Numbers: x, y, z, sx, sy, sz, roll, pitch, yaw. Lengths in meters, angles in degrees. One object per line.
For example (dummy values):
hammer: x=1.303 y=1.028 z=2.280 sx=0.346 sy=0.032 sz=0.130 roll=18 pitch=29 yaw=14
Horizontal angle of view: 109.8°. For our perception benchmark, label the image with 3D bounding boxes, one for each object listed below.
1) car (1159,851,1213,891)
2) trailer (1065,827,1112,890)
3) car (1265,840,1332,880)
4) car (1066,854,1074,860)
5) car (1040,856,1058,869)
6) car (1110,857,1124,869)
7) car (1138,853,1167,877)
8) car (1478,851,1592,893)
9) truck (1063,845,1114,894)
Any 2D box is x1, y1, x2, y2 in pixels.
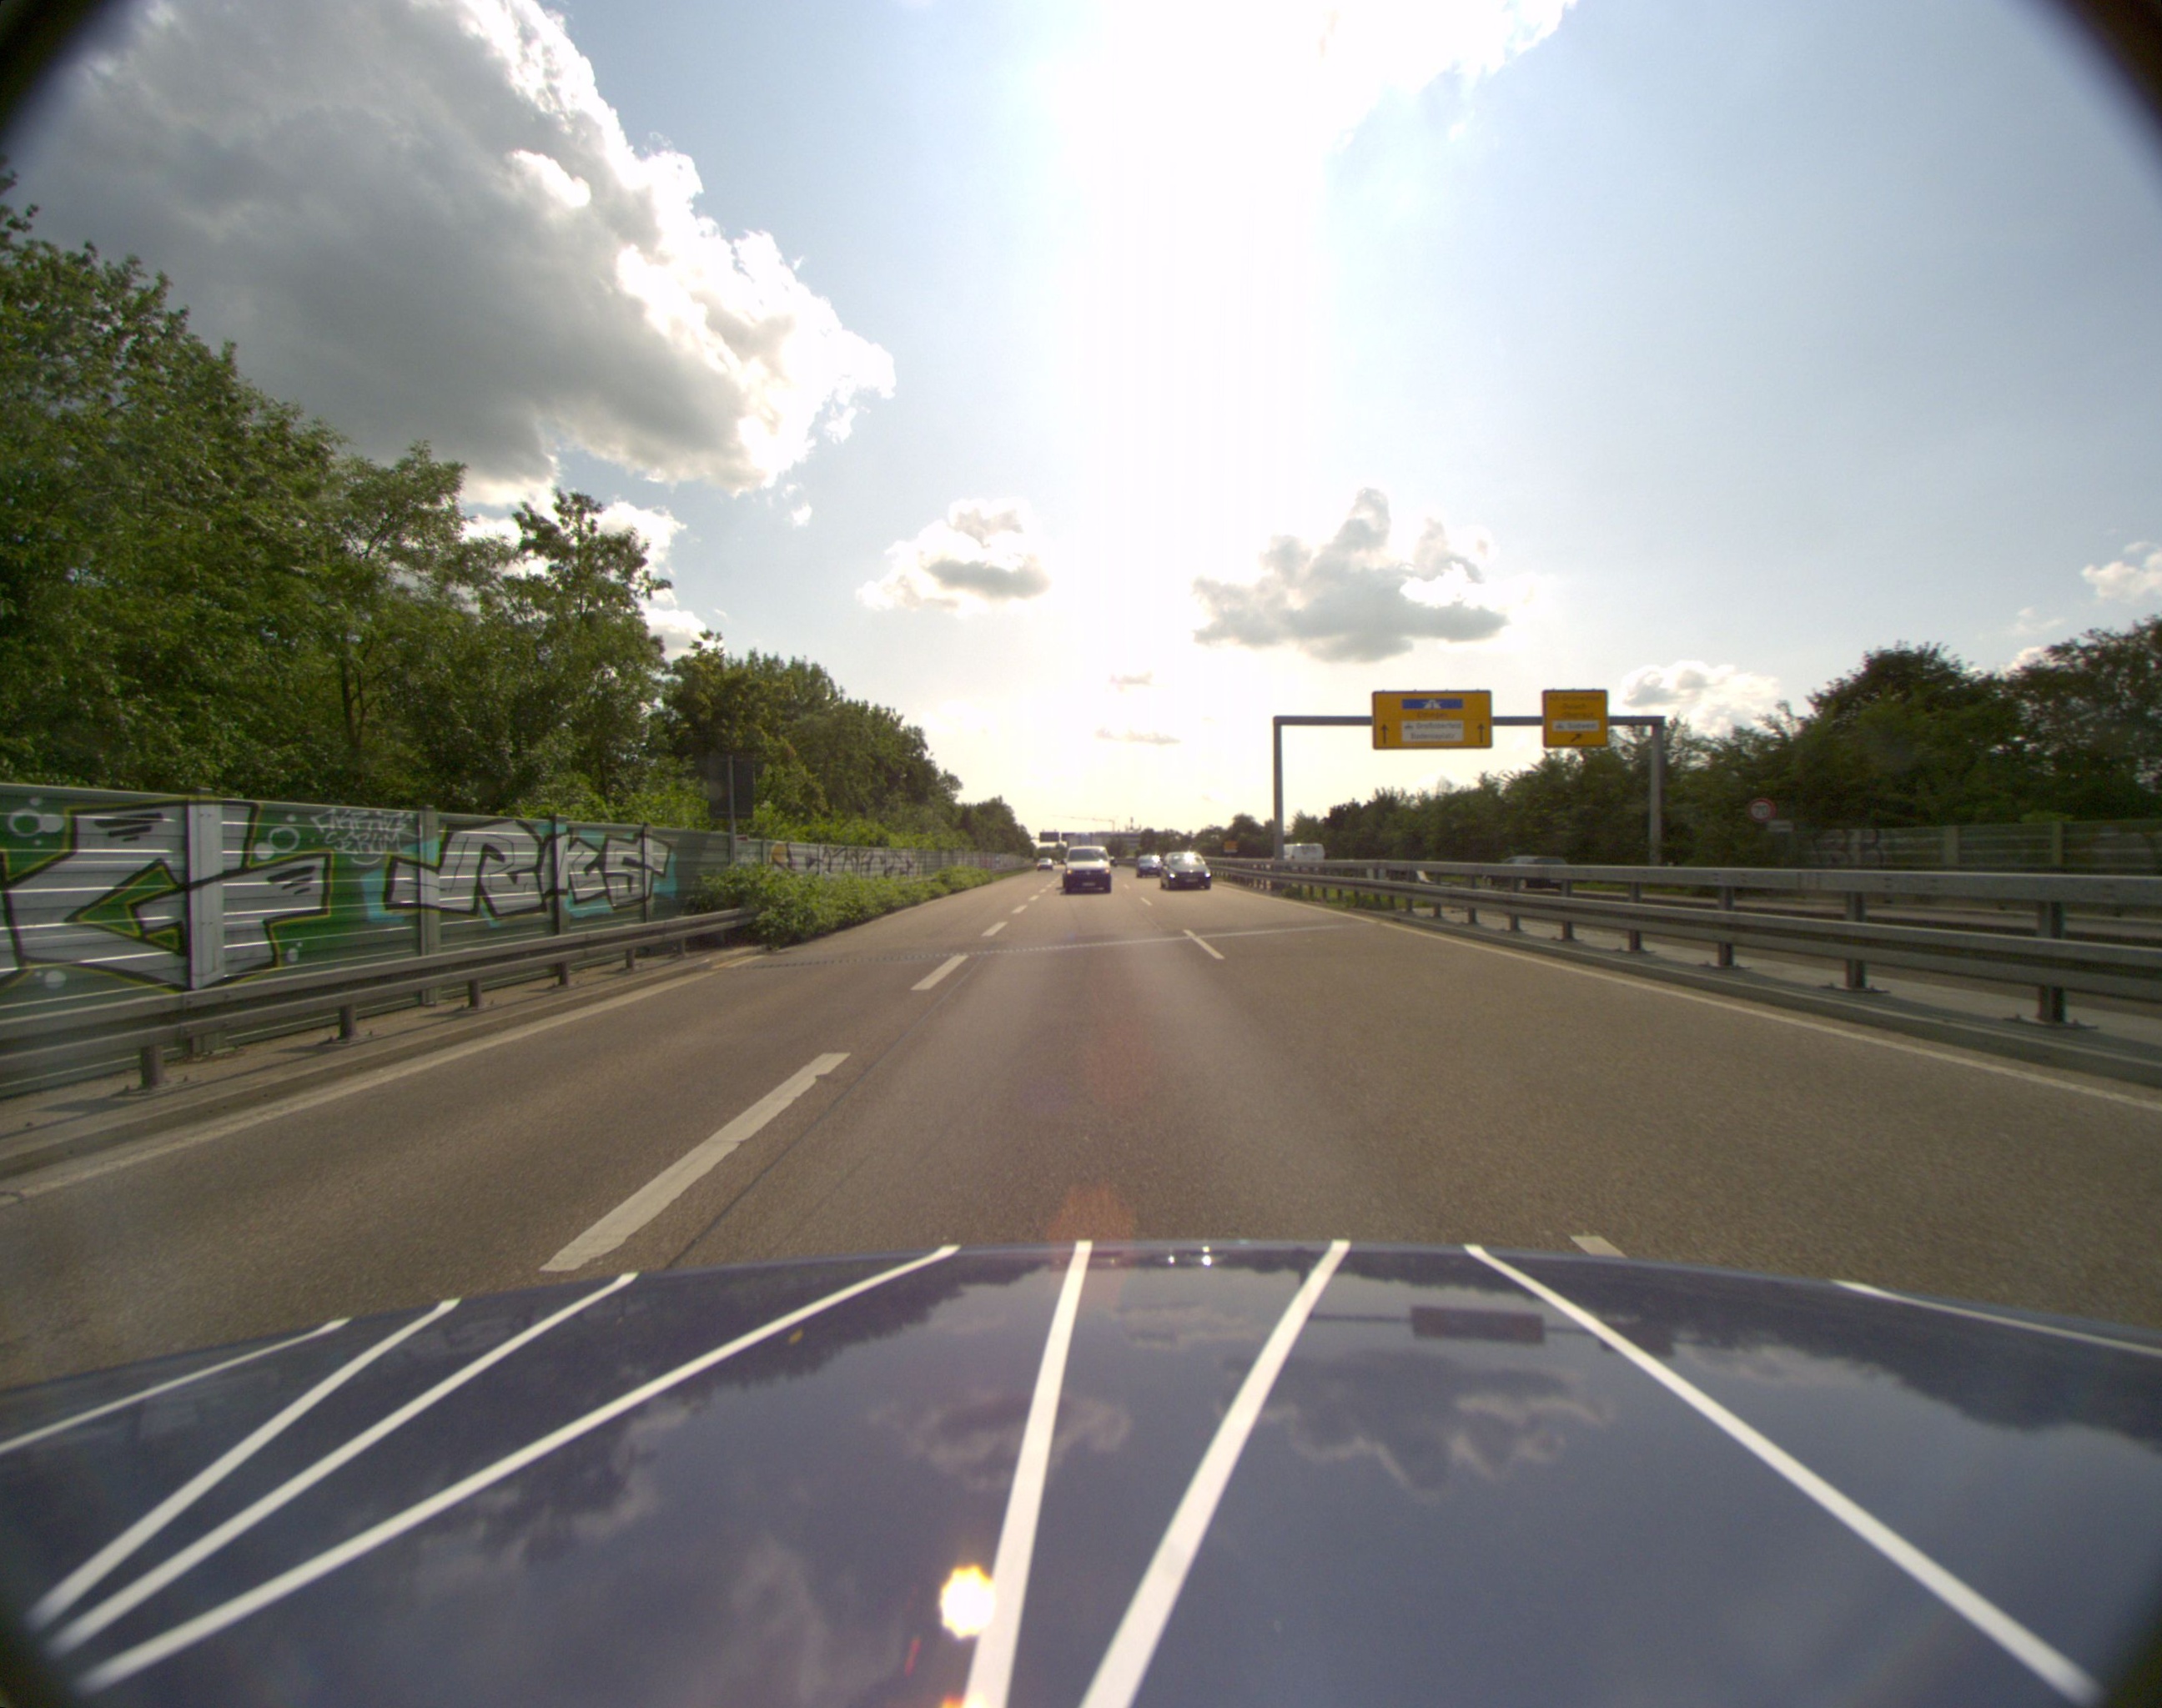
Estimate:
car: x=4.398 y=0.666 z=32.514 sx=1.716 sy=1.518 sz=4.592 roll=-2 pitch=1 yaw=1
trailer: x=0.336 y=0.168 z=36.952 sx=1.998 sy=2.723 sz=5.966 roll=-2 pitch=1 yaw=0
car: x=12.019 y=0.282 z=42.323 sx=2.085 sy=1.978 sz=5.227 roll=1 pitch=2 yaw=-1
car: x=-2.601 y=0.802 z=184.335 sx=1.768 sy=1.404 sz=3.771 roll=-2 pitch=1 yaw=1
car: x=-3.769 y=0.983 z=89.710 sx=1.768 sy=1.404 sz=3.771 roll=-2 pitch=1 yaw=1
car: x=4.864 y=1.233 z=104.067 sx=1.779 sy=1.518 sz=4.464 roll=-2 pitch=1 yaw=1
car: x=4.691 y=0.685 z=50.269 sx=1.625 sy=1.404 sz=3.771 roll=-2 pitch=1 yaw=1
car: x=17.685 y=0.653 z=29.858 sx=1.693 sy=1.423 sz=4.401 roll=-2 pitch=1 yaw=-2
truck: x=0.314 y=0.602 z=31.912 sx=2.008 sy=1.905 sz=4.000 roll=-1 pitch=0 yaw=1
